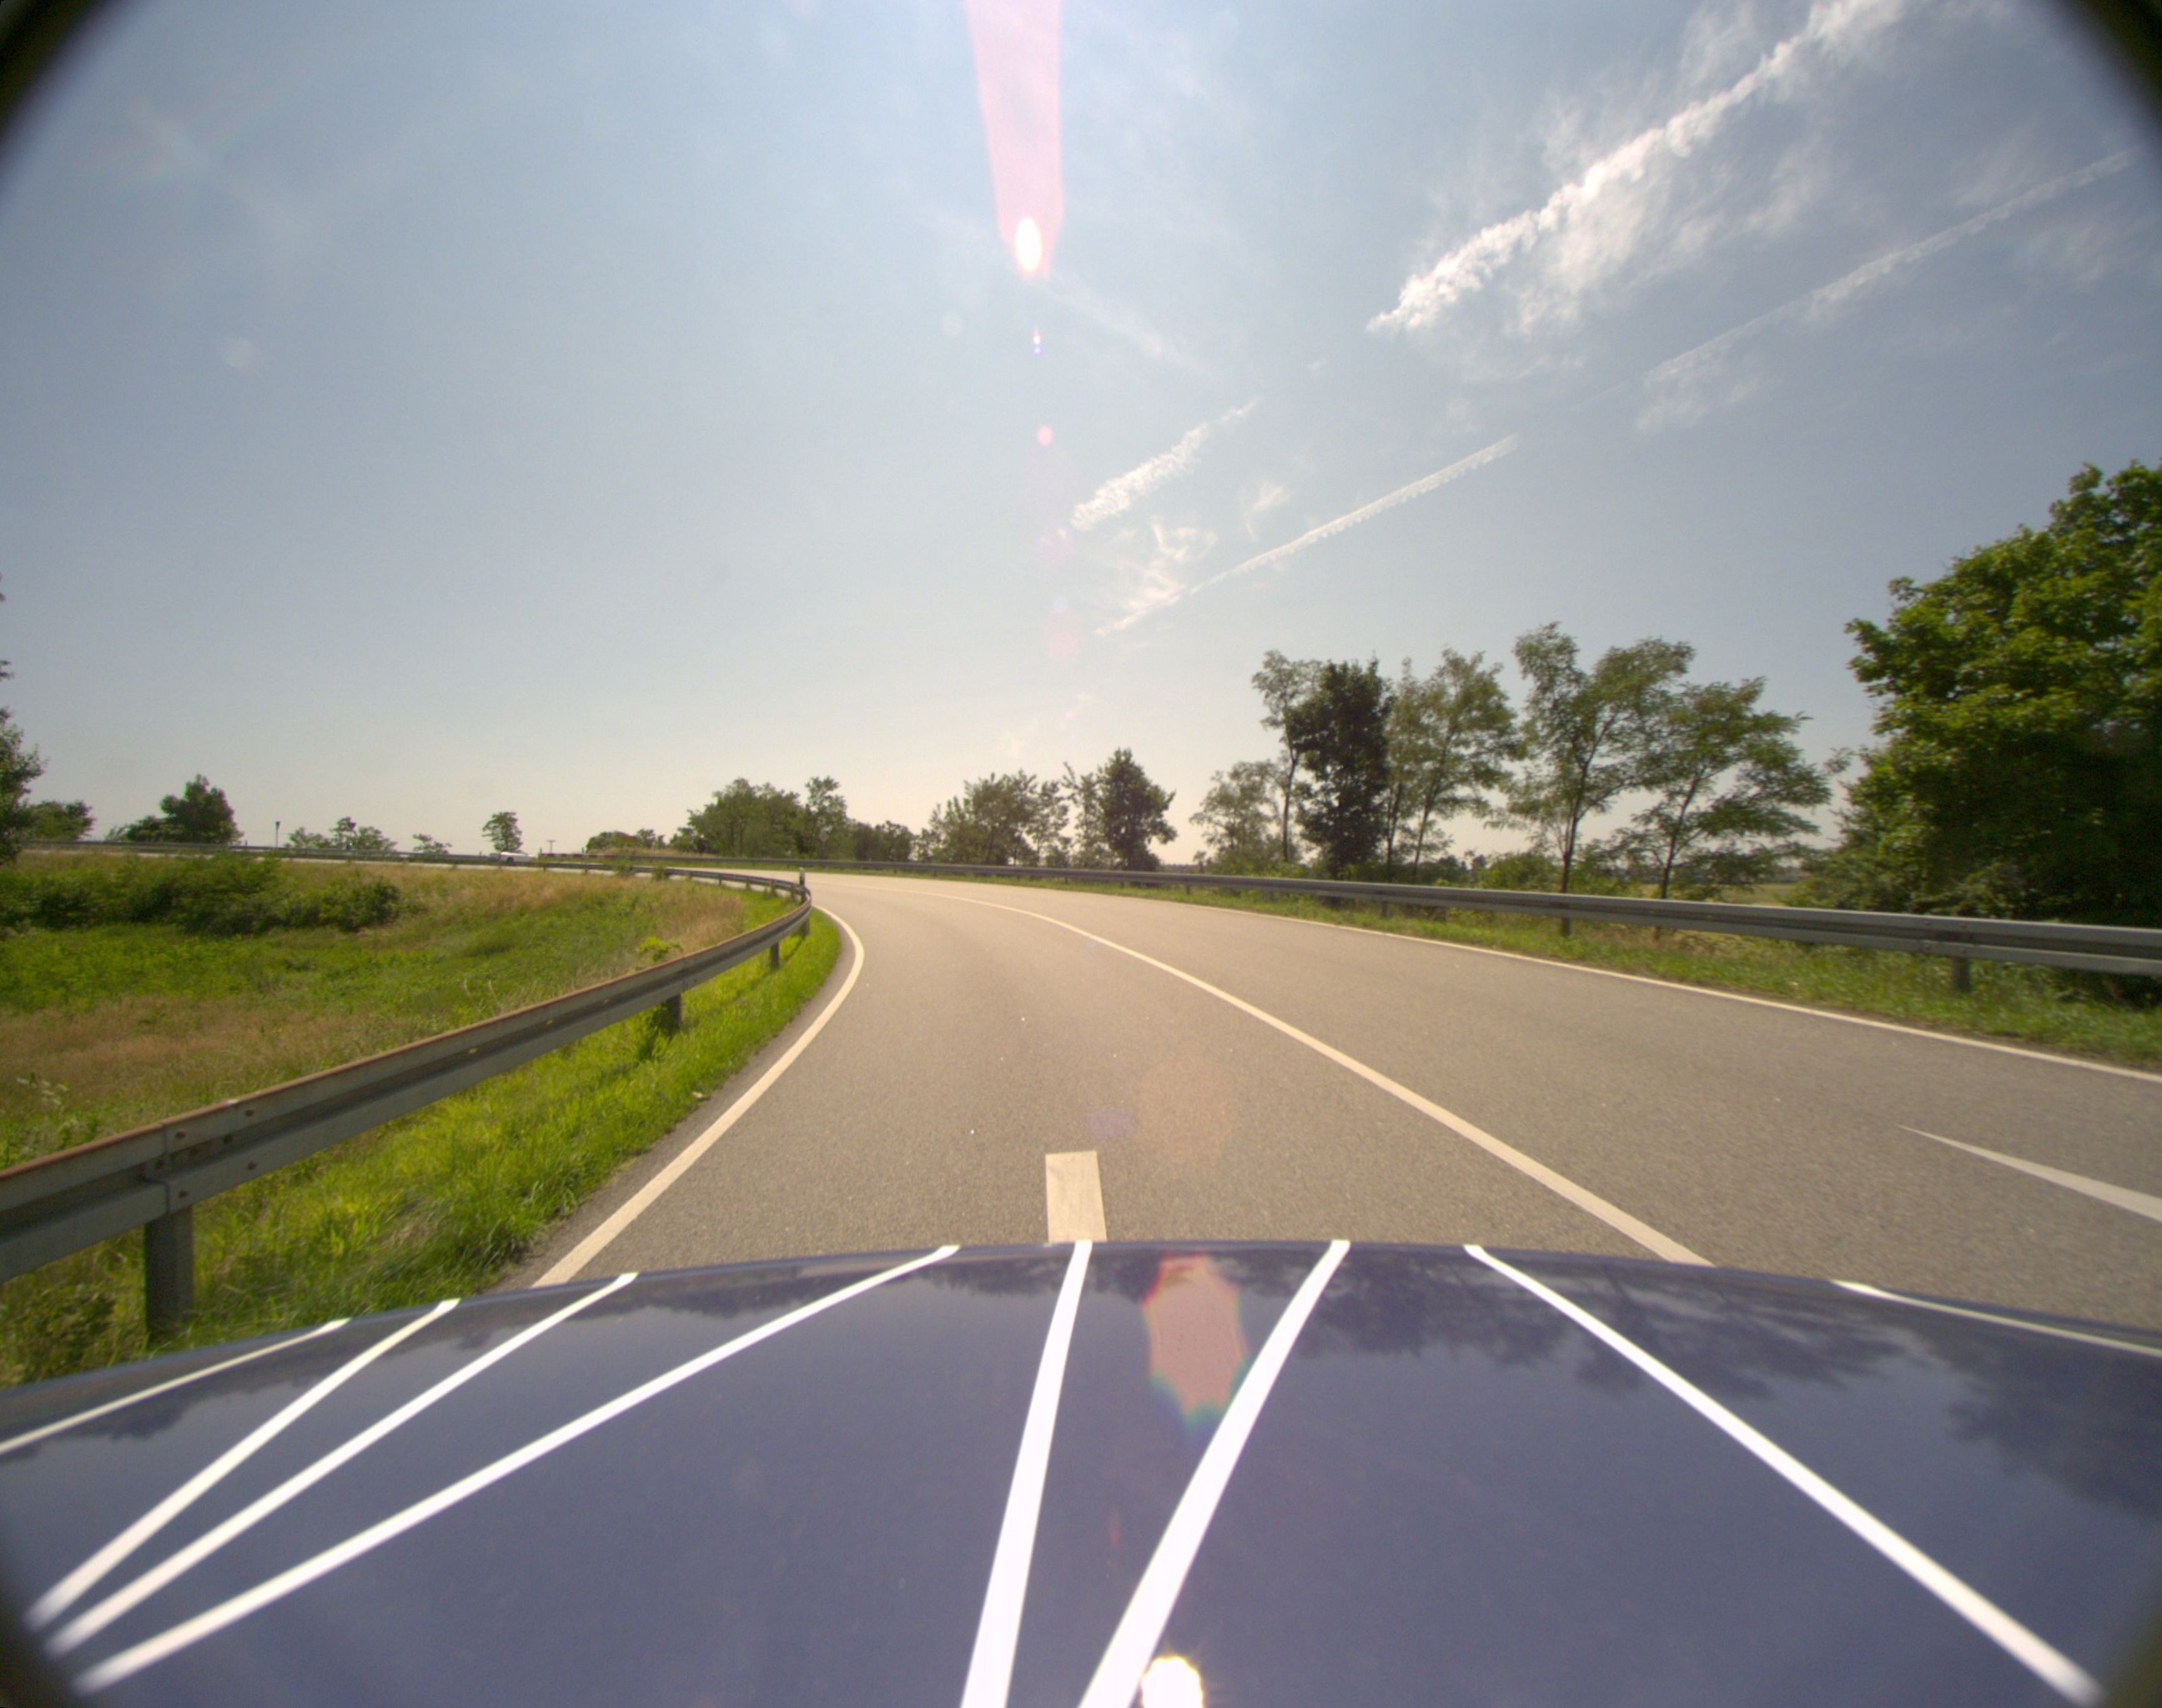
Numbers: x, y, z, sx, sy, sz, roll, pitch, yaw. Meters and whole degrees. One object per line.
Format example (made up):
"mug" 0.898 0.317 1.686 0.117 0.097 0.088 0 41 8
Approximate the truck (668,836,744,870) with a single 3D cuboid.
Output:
"truck" -49.333 0.016 100.322 2.816 3.644 9.968 -3 -5 18

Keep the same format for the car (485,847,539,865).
"car" -55.829 0.199 74.665 1.812 1.406 4.115 -4 -3 9
